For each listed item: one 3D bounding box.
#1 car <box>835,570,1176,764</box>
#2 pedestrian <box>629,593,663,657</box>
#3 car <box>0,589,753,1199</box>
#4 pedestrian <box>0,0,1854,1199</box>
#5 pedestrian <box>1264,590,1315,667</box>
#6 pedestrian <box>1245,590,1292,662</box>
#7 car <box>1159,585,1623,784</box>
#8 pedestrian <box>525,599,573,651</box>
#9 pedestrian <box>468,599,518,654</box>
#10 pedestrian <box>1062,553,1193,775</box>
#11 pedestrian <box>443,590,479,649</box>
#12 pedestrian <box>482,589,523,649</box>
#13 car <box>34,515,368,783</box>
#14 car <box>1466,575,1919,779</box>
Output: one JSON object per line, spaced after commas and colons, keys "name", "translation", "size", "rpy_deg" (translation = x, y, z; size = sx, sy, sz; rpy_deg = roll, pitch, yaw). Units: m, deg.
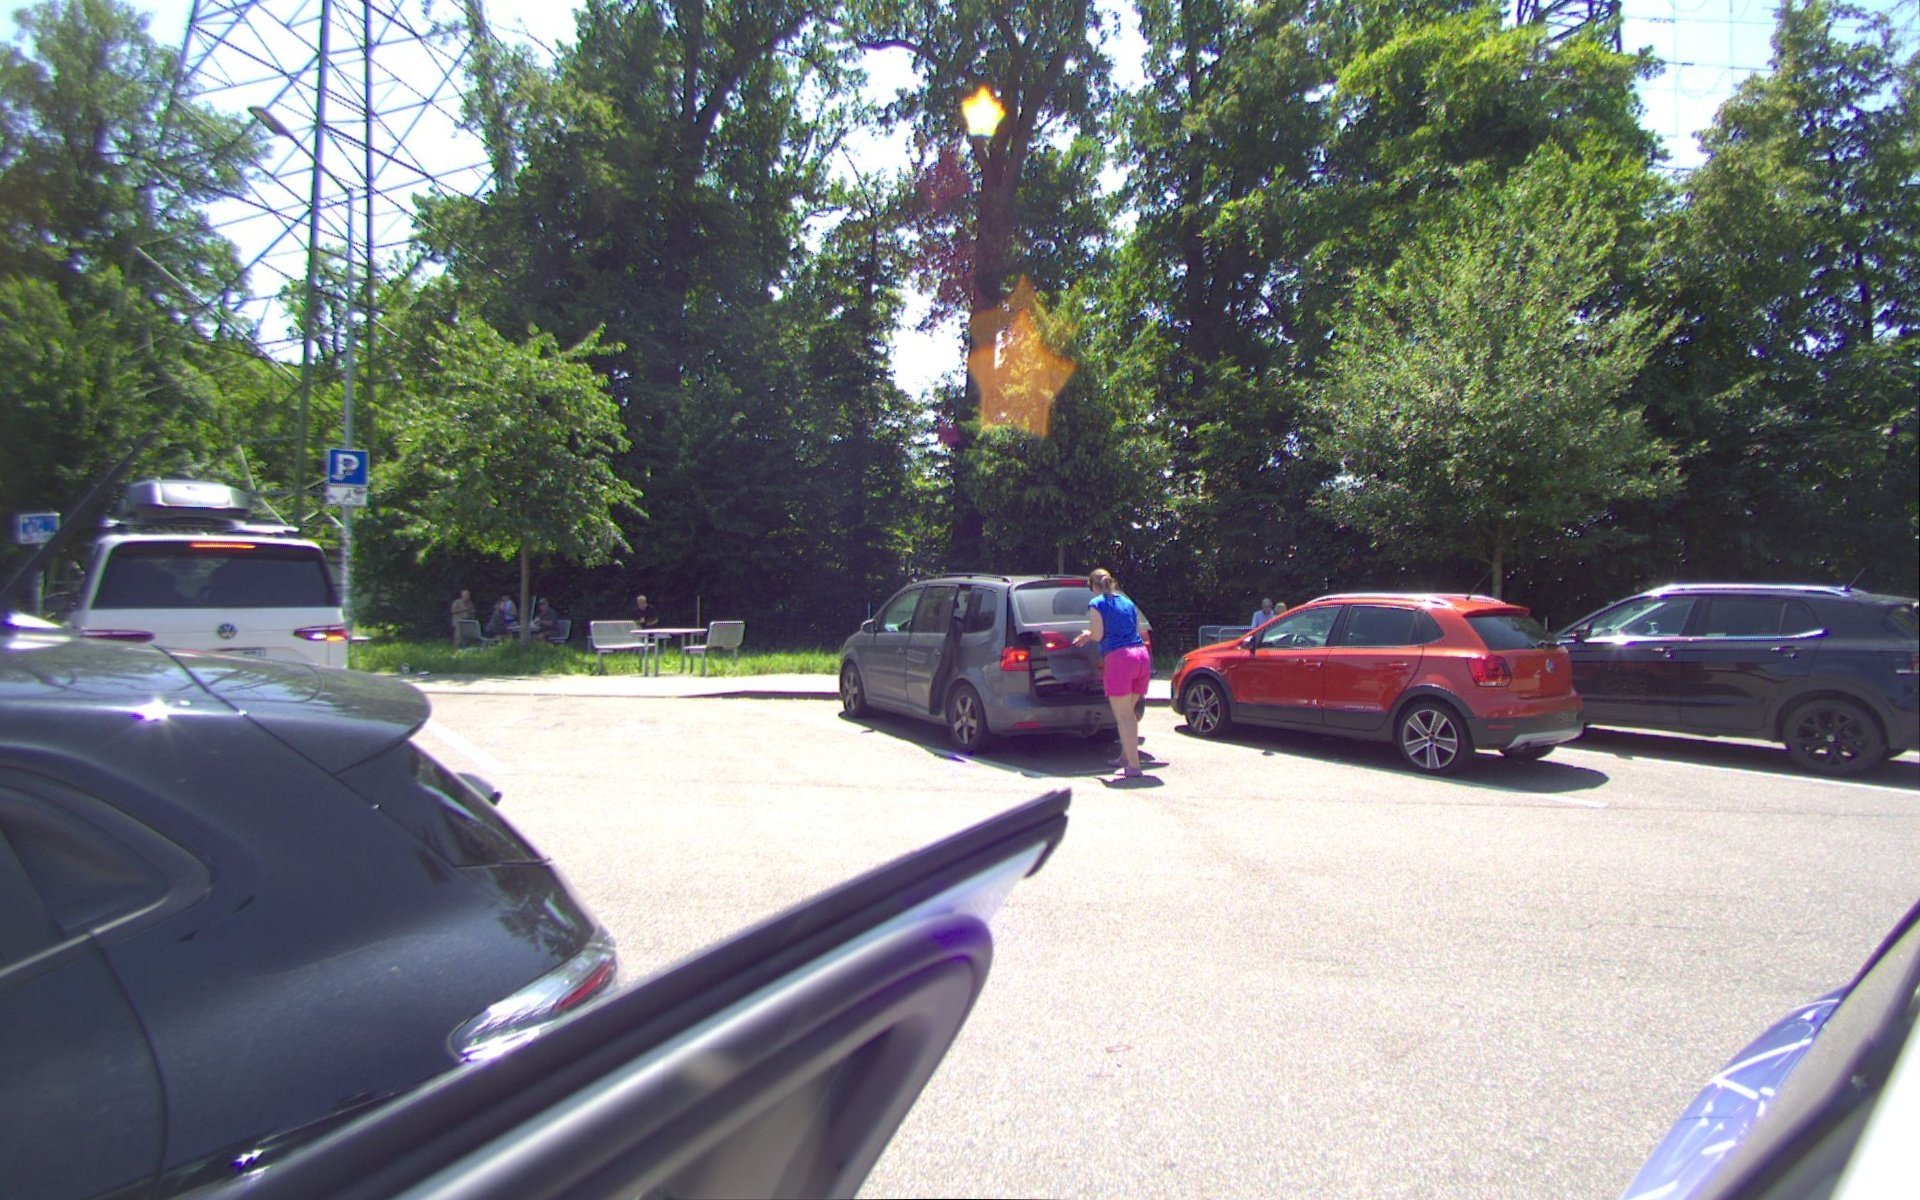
{"name": "car", "translation": [0.250, 0.515, 10.532], "size": [1.713, 1.601, 3.996], "rpy_deg": [0, 1, -29]}
{"name": "pedestrian", "translation": [-6.601, 0.519, 21.280], "size": [0.655, 1.311, 0.786], "rpy_deg": [0, 0, -16]}
{"name": "car", "translation": [-2.205, 0.720, 0.613], "size": [1.737, 1.501, 3.757], "rpy_deg": [0, 0, 44]}
{"name": "pedestrian", "translation": [-0.067, 0.540, 0.499], "size": [0.874, 1.865, 0.621], "rpy_deg": [0, 0, -38]}
{"name": "pedestrian", "translation": [5.776, 0.483, 17.775], "size": [0.657, 1.311, 0.783], "rpy_deg": [0, 0, 3]}
{"name": "pedestrian", "translation": [5.781, 0.472, 18.988], "size": [0.657, 1.311, 0.783], "rpy_deg": [0, 0, 3]}
{"name": "car", "translation": [3.850, 0.608, 9.663], "size": [1.687, 1.484, 3.793], "rpy_deg": [0, 1, -32]}
{"name": "pedestrian", "translation": [-9.607, 0.572, 23.638], "size": [0.873, 1.192, 0.668], "rpy_deg": [0, 0, -41]}
{"name": "pedestrian", "translation": [-10.523, 0.585, 22.784], "size": [0.873, 1.192, 0.668], "rpy_deg": [0, 0, -41]}
{"name": "pedestrian", "translation": [1.392, 0.484, 8.366], "size": [0.730, 1.703, 0.907], "rpy_deg": [0, 0, 38]}
{"name": "pedestrian", "translation": [-12.295, 0.460, 24.923], "size": [0.657, 1.422, 0.649], "rpy_deg": [0, 0, -39]}
{"name": "pedestrian", "translation": [-11.062, 0.457, 24.488], "size": [0.664, 1.422, 0.643], "rpy_deg": [0, 0, 32]}
{"name": "car", "translation": [-7.344, 0.309, 9.592], "size": [4.550, 1.936, 1.881], "rpy_deg": [1, 1, 44]}
{"name": "car", "translation": [7.177, 0.572, 9.723], "size": [1.690, 1.593, 3.787], "rpy_deg": [0, 1, -39]}
